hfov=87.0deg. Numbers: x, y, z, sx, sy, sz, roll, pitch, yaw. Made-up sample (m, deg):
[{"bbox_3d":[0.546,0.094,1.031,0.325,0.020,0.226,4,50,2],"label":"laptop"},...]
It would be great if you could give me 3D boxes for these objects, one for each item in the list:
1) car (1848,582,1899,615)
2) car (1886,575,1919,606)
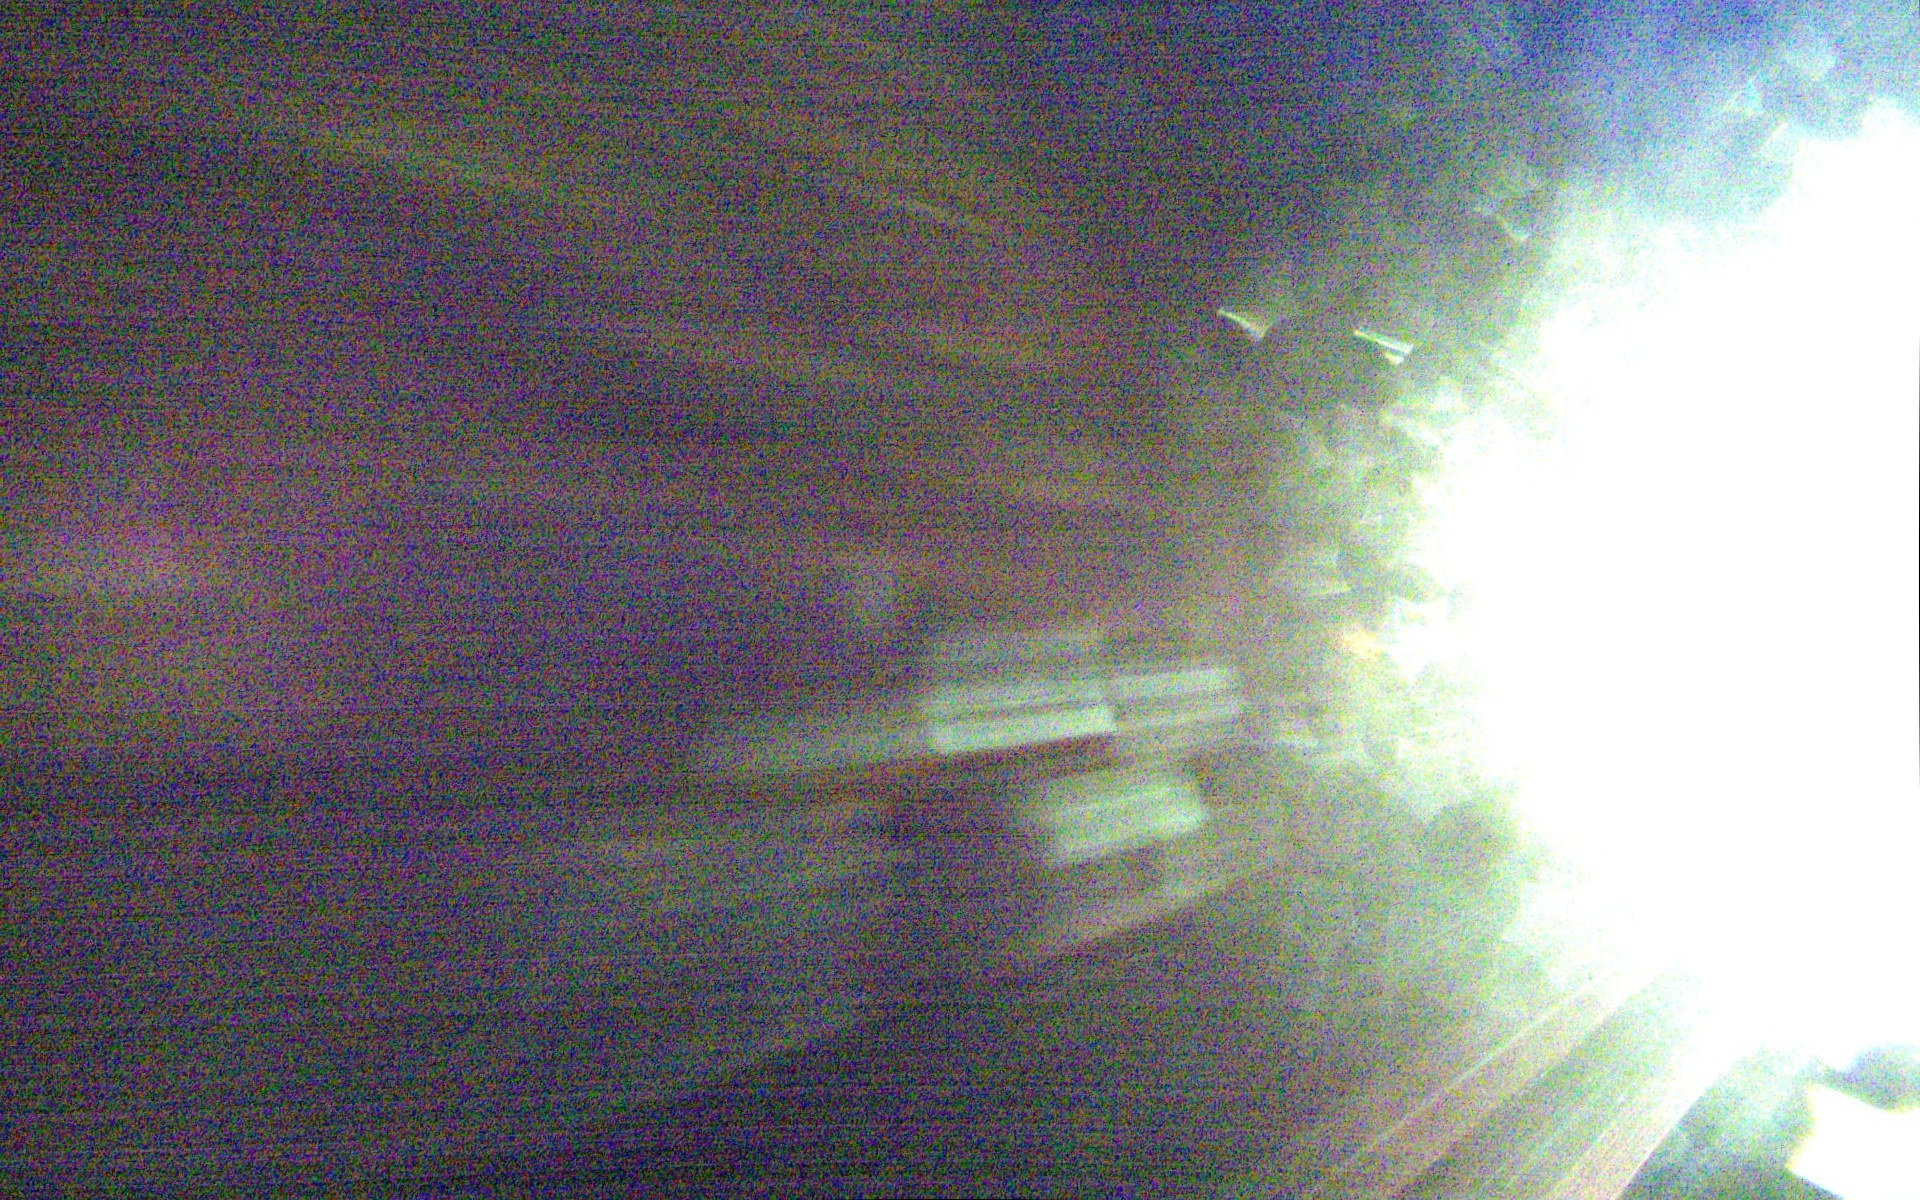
[{"bbox_3d":[50.365,-0.111,55.842,1.699,1.794,3.948,0,1,36],"label":"car"},{"bbox_3d":[64.131,-0.644,68.543,1.994,2.039,3.936,0,1,44],"label":"car"}]
